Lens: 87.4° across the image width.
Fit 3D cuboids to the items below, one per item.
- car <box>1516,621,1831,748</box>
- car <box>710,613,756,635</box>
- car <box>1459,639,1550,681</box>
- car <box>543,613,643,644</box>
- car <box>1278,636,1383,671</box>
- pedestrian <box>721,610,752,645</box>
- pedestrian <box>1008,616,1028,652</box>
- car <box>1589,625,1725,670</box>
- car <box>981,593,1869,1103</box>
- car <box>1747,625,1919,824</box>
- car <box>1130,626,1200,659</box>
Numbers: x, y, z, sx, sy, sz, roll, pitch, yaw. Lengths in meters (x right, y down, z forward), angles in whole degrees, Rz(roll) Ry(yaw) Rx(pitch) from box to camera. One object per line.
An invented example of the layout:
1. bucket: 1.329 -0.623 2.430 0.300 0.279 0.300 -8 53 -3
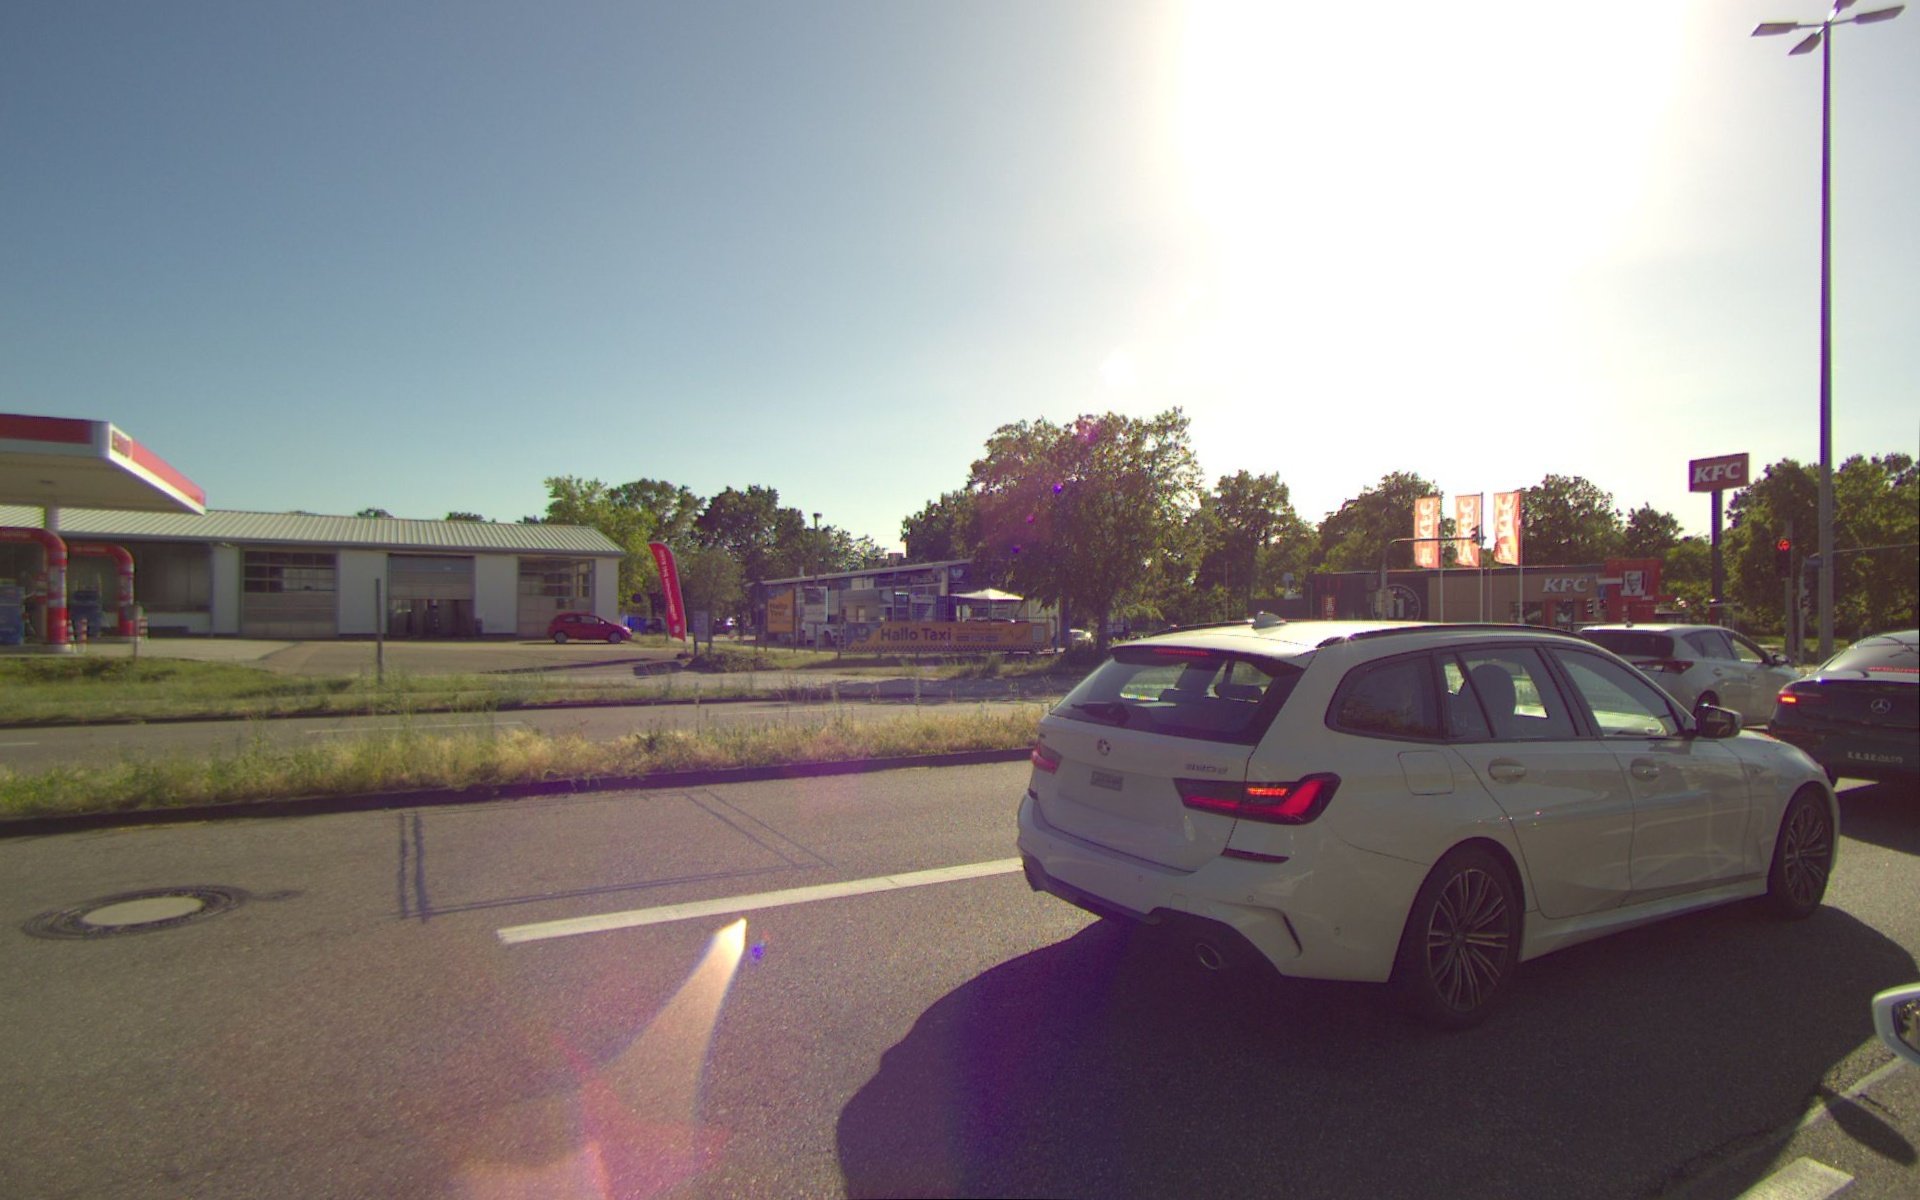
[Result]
1. car: 9.635 1.024 13.489 4.352 1.448 1.848 1 -1 -30
2. car: -19.909 2.117 88.264 2.085 1.840 4.000 0 -1 20
3. car: 19.711 2.156 36.552 1.787 1.448 4.054 -1 -3 11
4. car: -18.099 1.405 49.512 4.486 1.458 1.741 1 -1 -26
5. car: 17.413 2.470 47.488 1.839 1.448 4.704 1 -1 -27
6. pedestrian: -11.612 1.413 52.264 1.140 1.787 1.096 0 -1 36
7. pedestrian: 2.990 1.770 51.941 0.804 1.828 0.951 1 -1 -13
8. car: 27.236 1.816 39.354 1.806 1.616 4.012 1 -1 -34
9. car: 2.433 0.789 4.908 4.409 1.529 1.760 1 -1 -30
10. car: 8.812 0.957 8.628 4.409 1.433 1.760 1 -1 -30
11. car: 11.711 2.391 57.637 1.738 1.751 3.969 1 -1 -29
